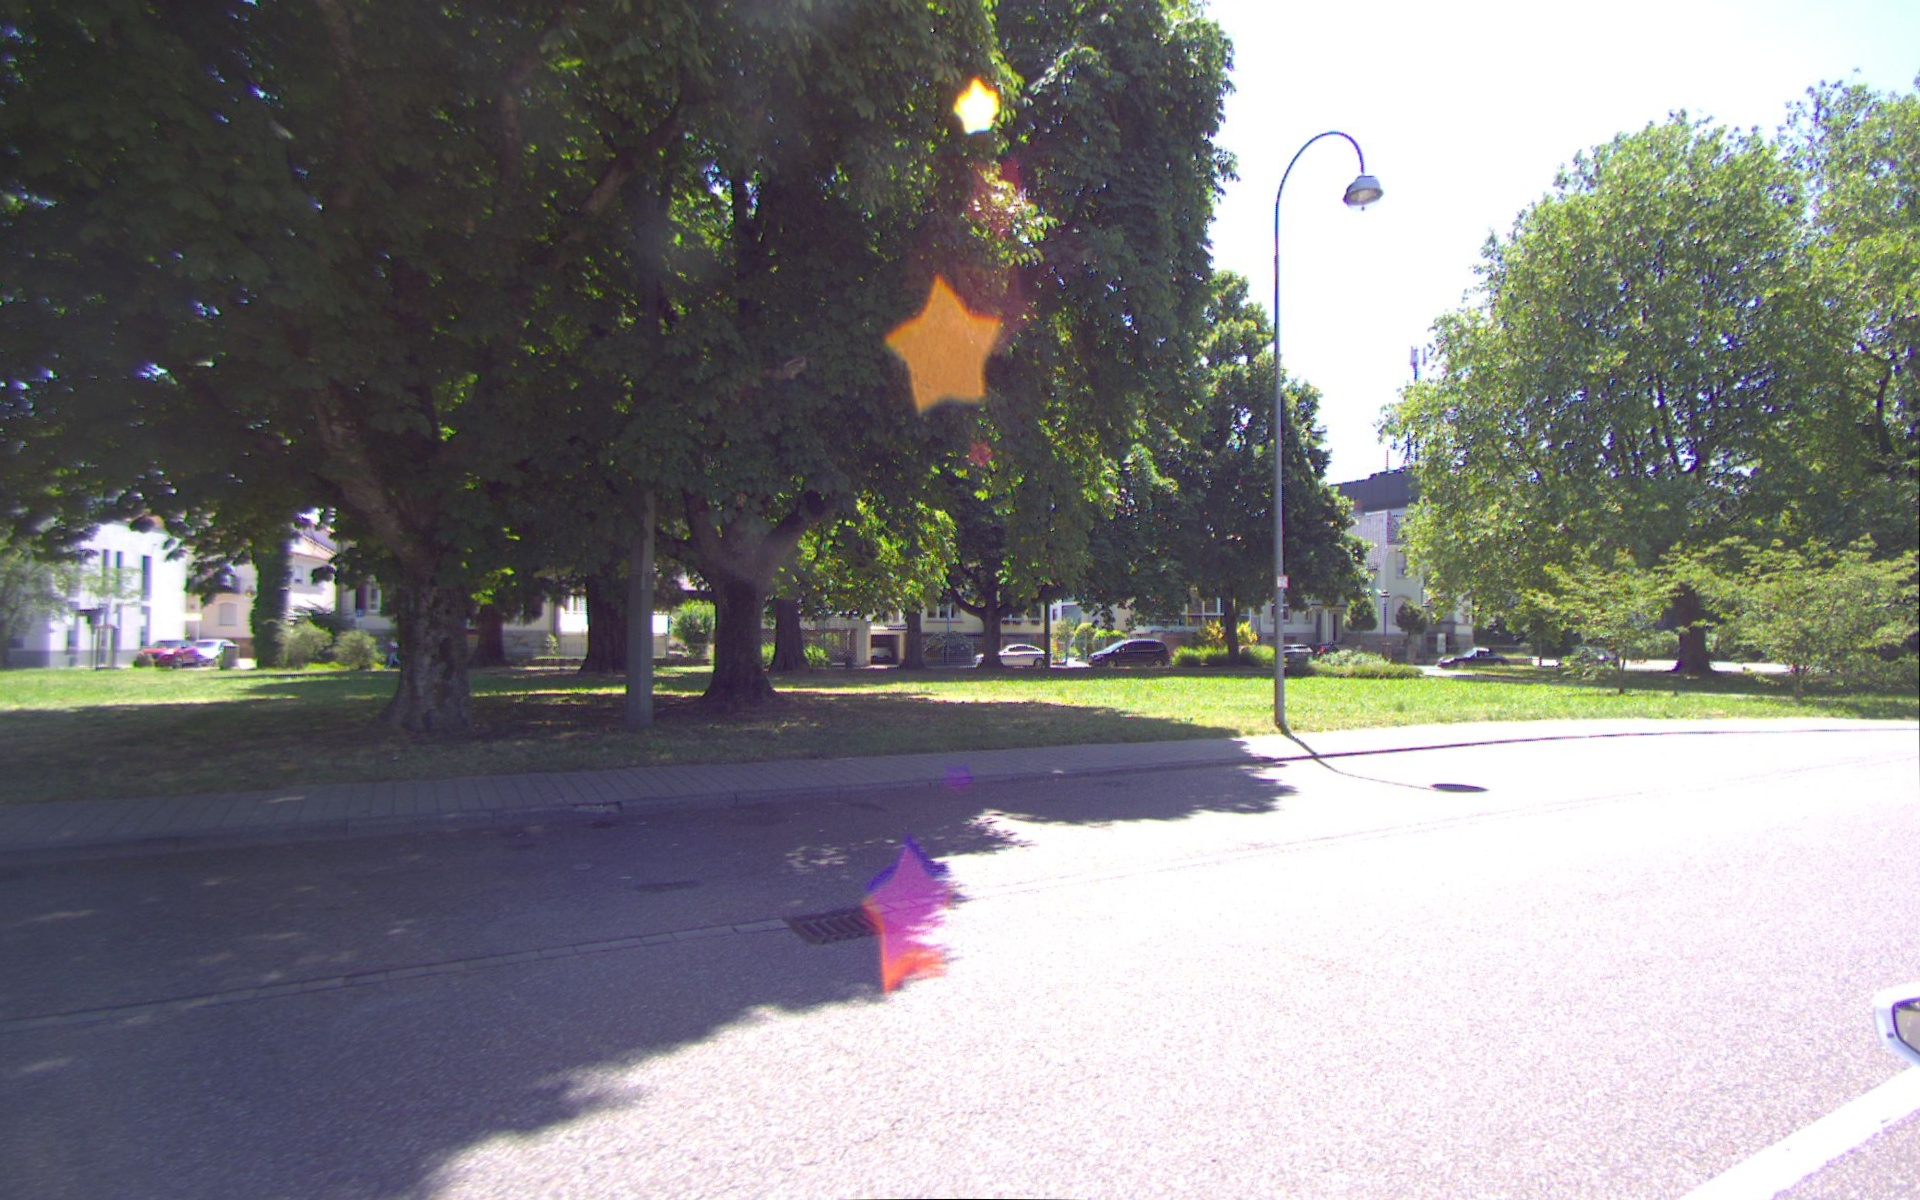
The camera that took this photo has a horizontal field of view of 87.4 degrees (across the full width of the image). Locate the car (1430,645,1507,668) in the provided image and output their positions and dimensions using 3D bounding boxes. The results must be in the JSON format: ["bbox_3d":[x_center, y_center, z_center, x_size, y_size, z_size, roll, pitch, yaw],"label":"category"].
[{"bbox_3d":[31.416,3.480,62.109,3.912,1.328,1.822,0,-2,-4],"label":"car"}]

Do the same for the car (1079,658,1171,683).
[{"bbox_3d":[9.392,4.003,57.393,4.801,1.367,1.989,1,-2,-13],"label":"car"}]

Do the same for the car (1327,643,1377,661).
[{"bbox_3d":[28.054,3.717,71.963,1.454,1.200,3.558,1,-2,-18],"label":"car"}]

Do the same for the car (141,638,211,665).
[{"bbox_3d":[-42.245,2.767,54.237,1.612,1.367,4.032,1,-2,-17],"label":"car"}]

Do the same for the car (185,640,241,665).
[{"bbox_3d":[-43.555,3.056,58.662,1.403,1.367,3.361,1,-2,-14],"label":"car"}]

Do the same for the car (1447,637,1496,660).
[{"bbox_3d":[46.311,4.351,91.075,1.869,1.830,3.991,2,-1,-12],"label":"car"}]

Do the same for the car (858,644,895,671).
[{"bbox_3d":[-5.549,3.779,66.282,1.814,1.669,3.989,1,-2,-14],"label":"car"}]

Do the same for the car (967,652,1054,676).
[{"bbox_3d":[2.968,3.780,59.657,4.801,1.367,1.989,1,-2,-13],"label":"car"}]

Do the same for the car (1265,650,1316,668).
[{"bbox_3d":[23.061,4.086,70.182,1.536,1.200,3.558,1,-2,-18],"label":"car"}]

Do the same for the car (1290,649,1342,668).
[{"bbox_3d":[25.499,4.208,72.072,1.686,1.268,3.722,1,-2,-16],"label":"car"}]

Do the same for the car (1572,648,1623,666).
[{"bbox_3d":[47.769,4.249,75.310,1.609,1.328,4.201,0,-2,8],"label":"car"}]

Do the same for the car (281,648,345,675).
[{"bbox_3d":[-34.342,3.248,53.425,1.610,1.367,4.036,1,-2,-13],"label":"car"}]

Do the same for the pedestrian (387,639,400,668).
[{"bbox_3d":[-29.505,2.803,52.322,0.476,1.510,0.389,1,-2,-14],"label":"pedestrian"}]
